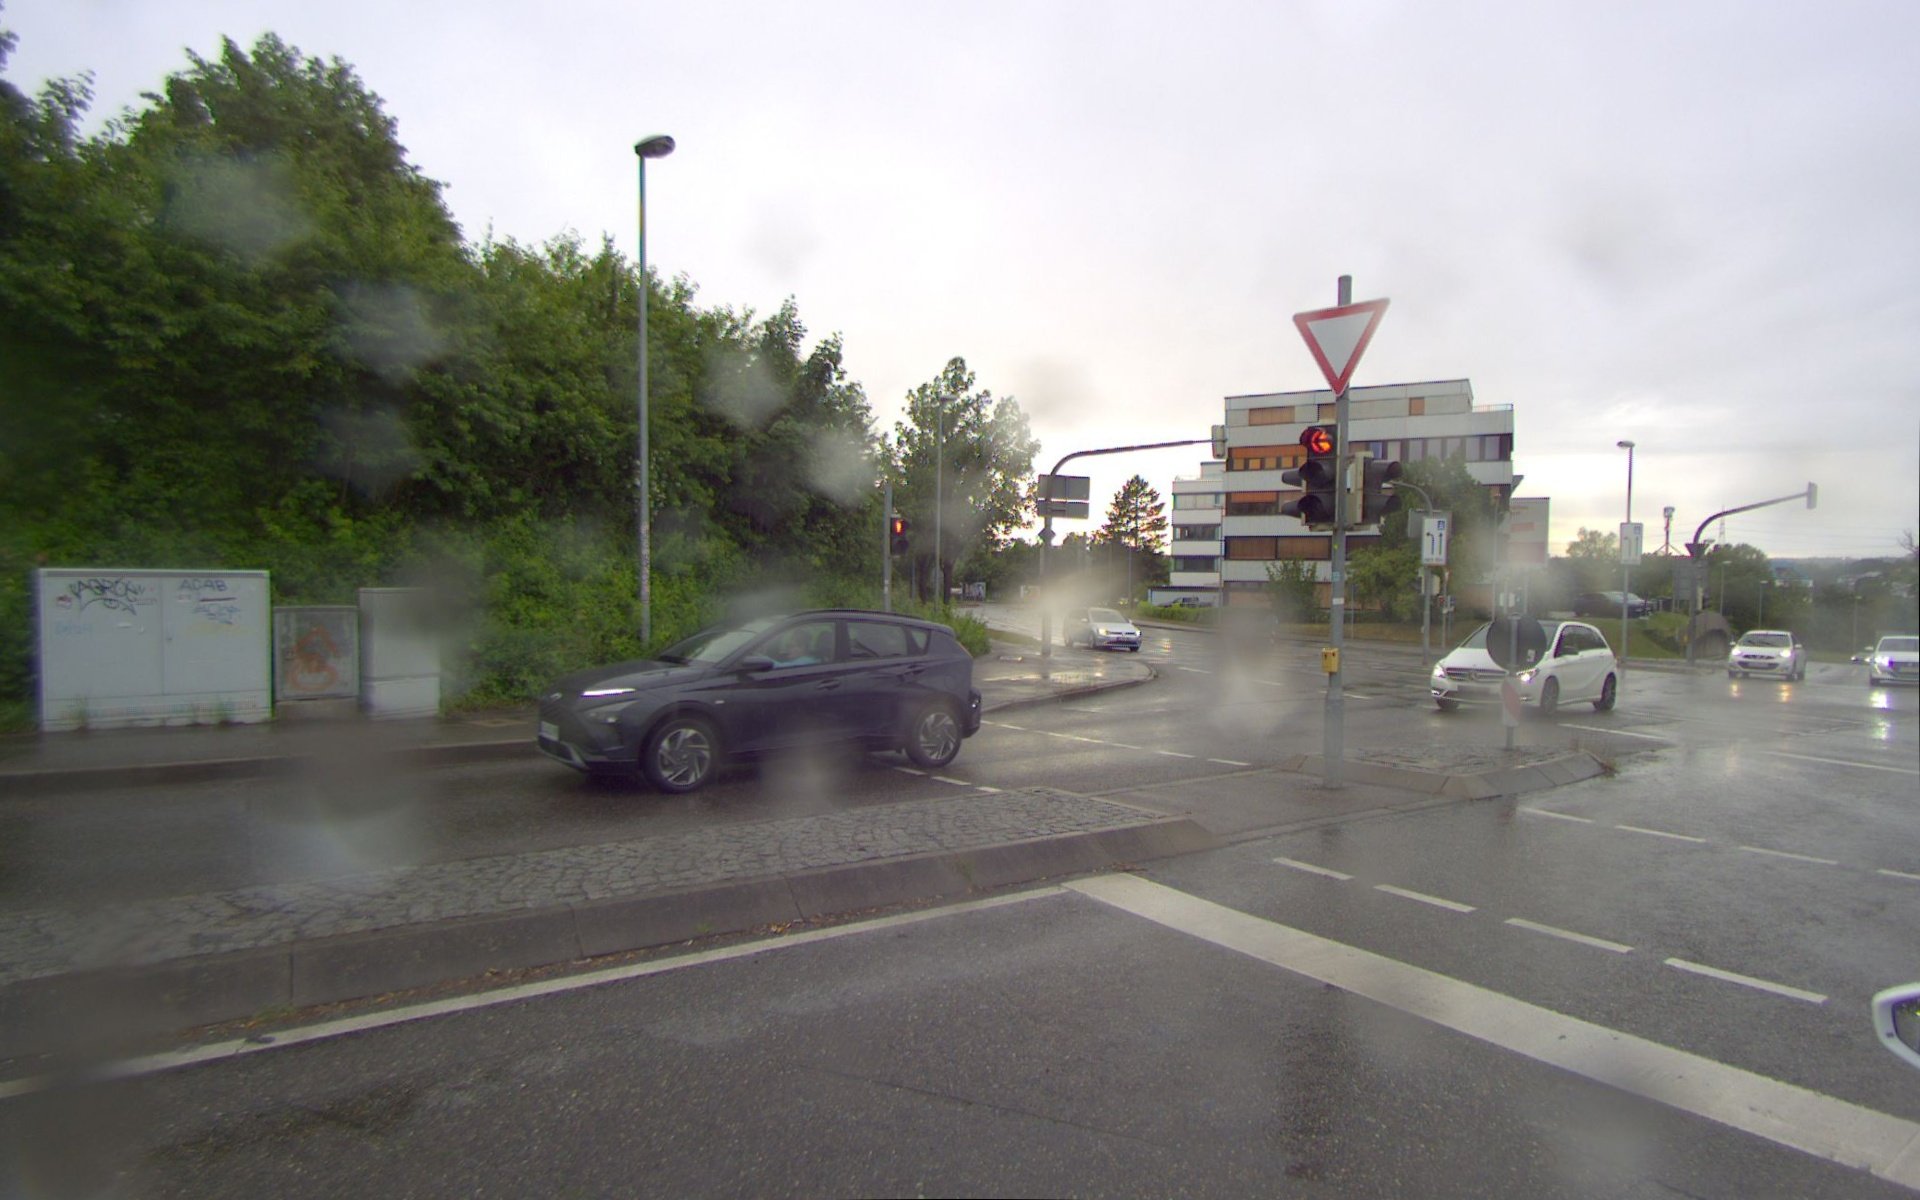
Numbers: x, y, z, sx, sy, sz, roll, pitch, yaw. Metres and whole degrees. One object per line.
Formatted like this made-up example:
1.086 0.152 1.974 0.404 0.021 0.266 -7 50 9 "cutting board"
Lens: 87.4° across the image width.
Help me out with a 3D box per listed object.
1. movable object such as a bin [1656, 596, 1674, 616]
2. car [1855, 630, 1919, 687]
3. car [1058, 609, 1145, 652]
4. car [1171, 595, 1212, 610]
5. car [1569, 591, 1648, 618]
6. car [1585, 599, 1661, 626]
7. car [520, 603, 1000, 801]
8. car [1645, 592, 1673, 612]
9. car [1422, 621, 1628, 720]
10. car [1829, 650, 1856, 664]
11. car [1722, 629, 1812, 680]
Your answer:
55.724 0.483 79.386 1.069 1.456 1.443 3 0 34 "movable object such as a bin"
27.962 1.708 29.907 1.843 1.528 3.961 2 0 41 "car"
5.064 1.069 36.523 1.731 1.381 4.523 2 0 -11 "car"
22.221 0.234 96.334 3.686 1.418 2.000 1 1 19 "car"
42.434 0.291 65.807 1.874 1.607 3.981 4 0 -21 "car"
44.716 0.814 67.861 1.872 1.607 3.985 4 0 -17 "car"
-1.704 0.816 9.312 4.072 1.457 1.651 2 -2 -39 "car"
60.270 0.212 86.667 1.802 1.461 3.990 3 -1 33 "car"
9.878 1.149 17.439 4.285 1.524 1.651 2 -2 -39 "car"
102.048 6.605 116.148 3.967 1.514 1.647 2 -1 -39 "car"
26.206 1.709 32.589 3.791 1.525 1.607 1 -1 -40 "car"
